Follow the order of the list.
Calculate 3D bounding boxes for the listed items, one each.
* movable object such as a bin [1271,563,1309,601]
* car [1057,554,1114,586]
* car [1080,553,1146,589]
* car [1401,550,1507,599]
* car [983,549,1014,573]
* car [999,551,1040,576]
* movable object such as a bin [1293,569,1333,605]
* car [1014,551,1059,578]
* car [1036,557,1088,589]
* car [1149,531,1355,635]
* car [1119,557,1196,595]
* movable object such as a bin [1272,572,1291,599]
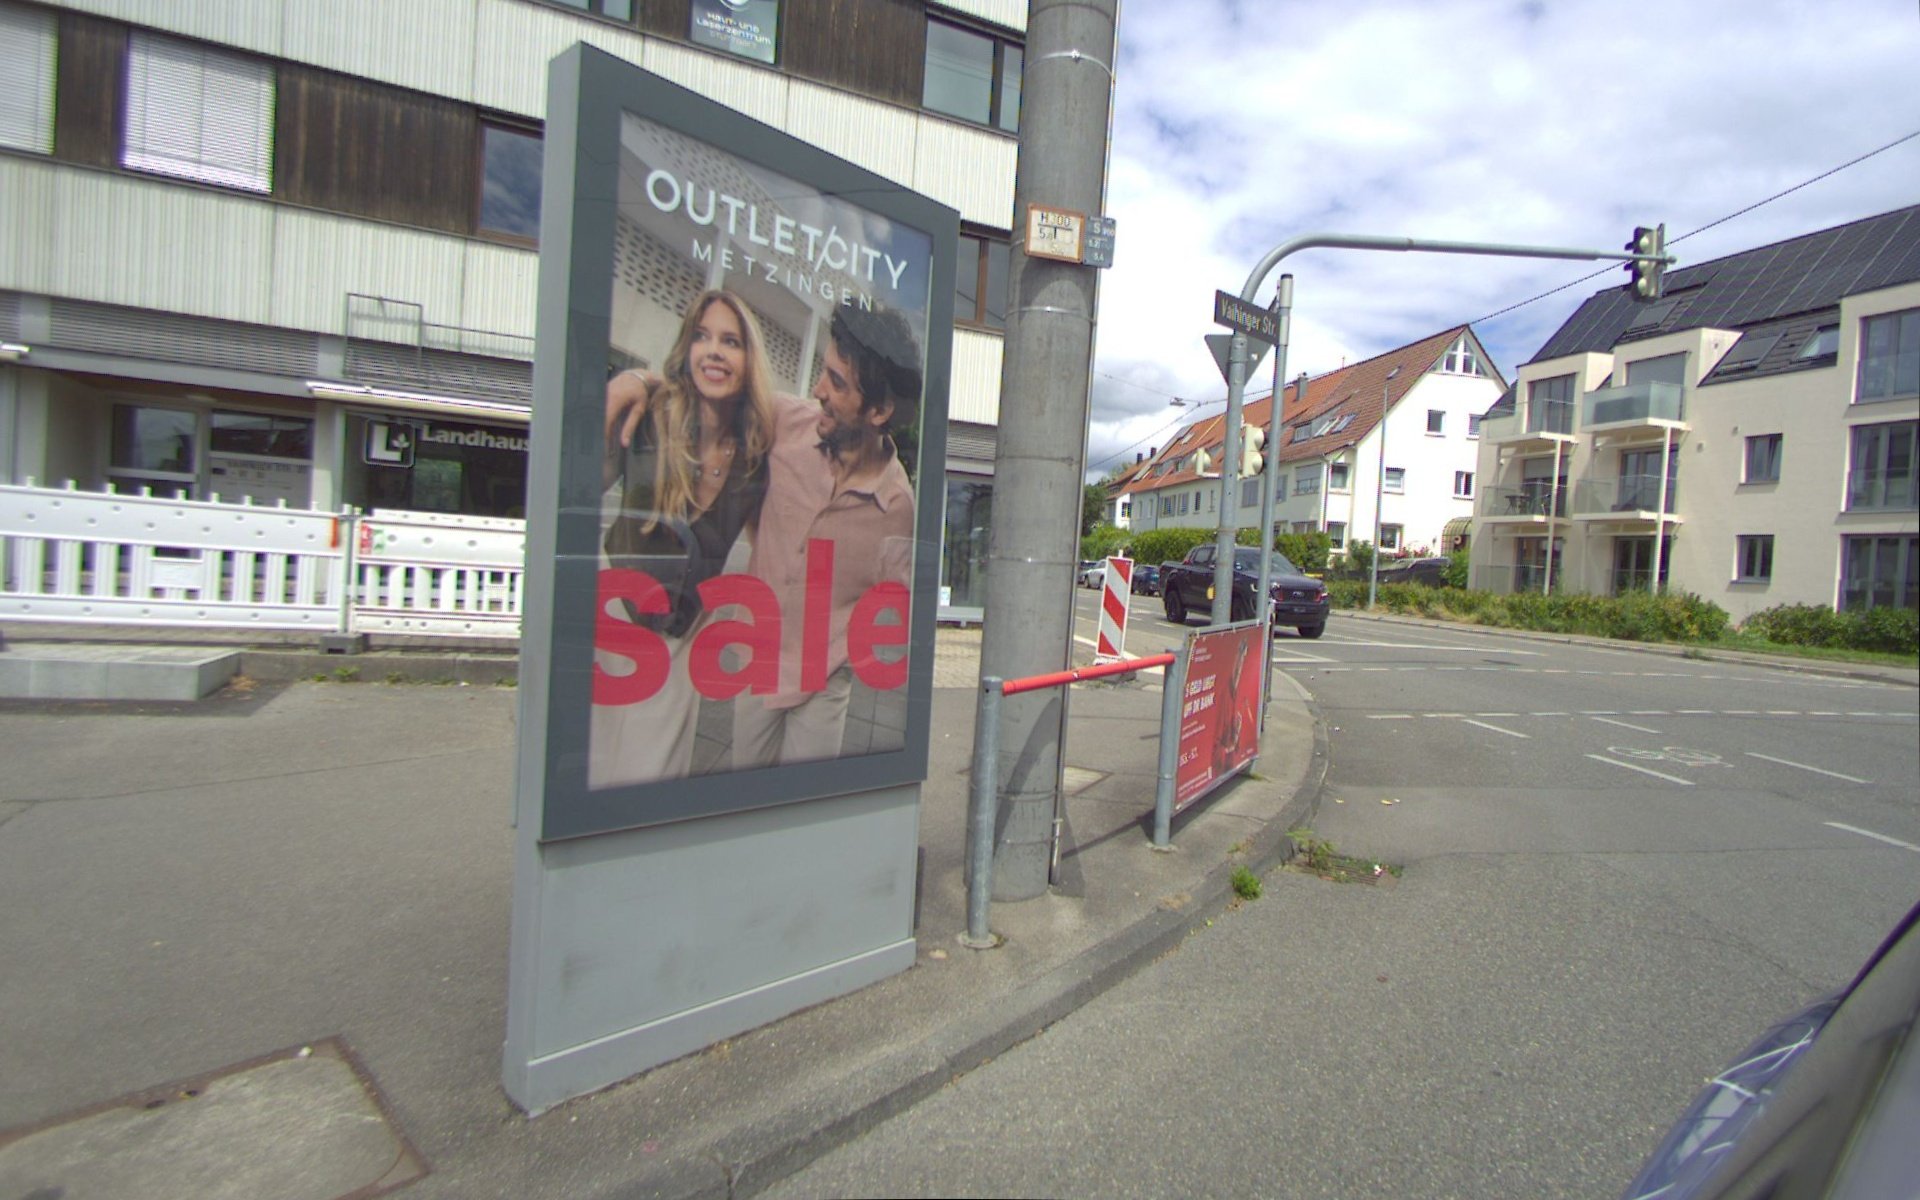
[{"bbox_3d":[13.633,-0.748,41.835,1.070,1.464,0.983,2,2,-11],"label":"movable object such as a bin"},{"bbox_3d":[7.231,-1.792,58.638,1.958,1.653,4.246,2,3,-11],"label":"car"},{"bbox_3d":[8.002,-1.574,53.349,1.958,1.653,4.464,2,3,-11],"label":"car"},{"bbox_3d":[23.081,-1.205,47.393,3.917,2.038,2.005,2,3,-10],"label":"car"},{"bbox_3d":[3.351,-3.420,88.937,1.959,1.938,4.078,2,3,-9],"label":"car"},{"bbox_3d":[4.336,-2.689,74.456,1.958,1.653,4.246,3,3,-11],"label":"car"},{"bbox_3d":[13.998,-0.522,40.162,1.070,1.379,0.983,2,2,-11],"label":"movable object such as a bin"},{"bbox_3d":[5.197,-2.477,69.550,1.958,1.653,4.246,2,3,-11],"label":"car"},{"bbox_3d":[6.377,-1.734,63.838,1.960,1.652,4.246,9,1,-11],"label":"car"},{"bbox_3d":[6.008,-0.462,21.660,1.848,1.871,5.234,2,3,-12],"label":"car"},{"bbox_3d":[9.211,-1.163,47.639,1.781,1.519,4.465,2,3,-13],"label":"car"},{"bbox_3d":[13.561,-0.607,42.722,0.521,1.078,0.647,5,3,40],"label":"movable object such as a bin"}]
